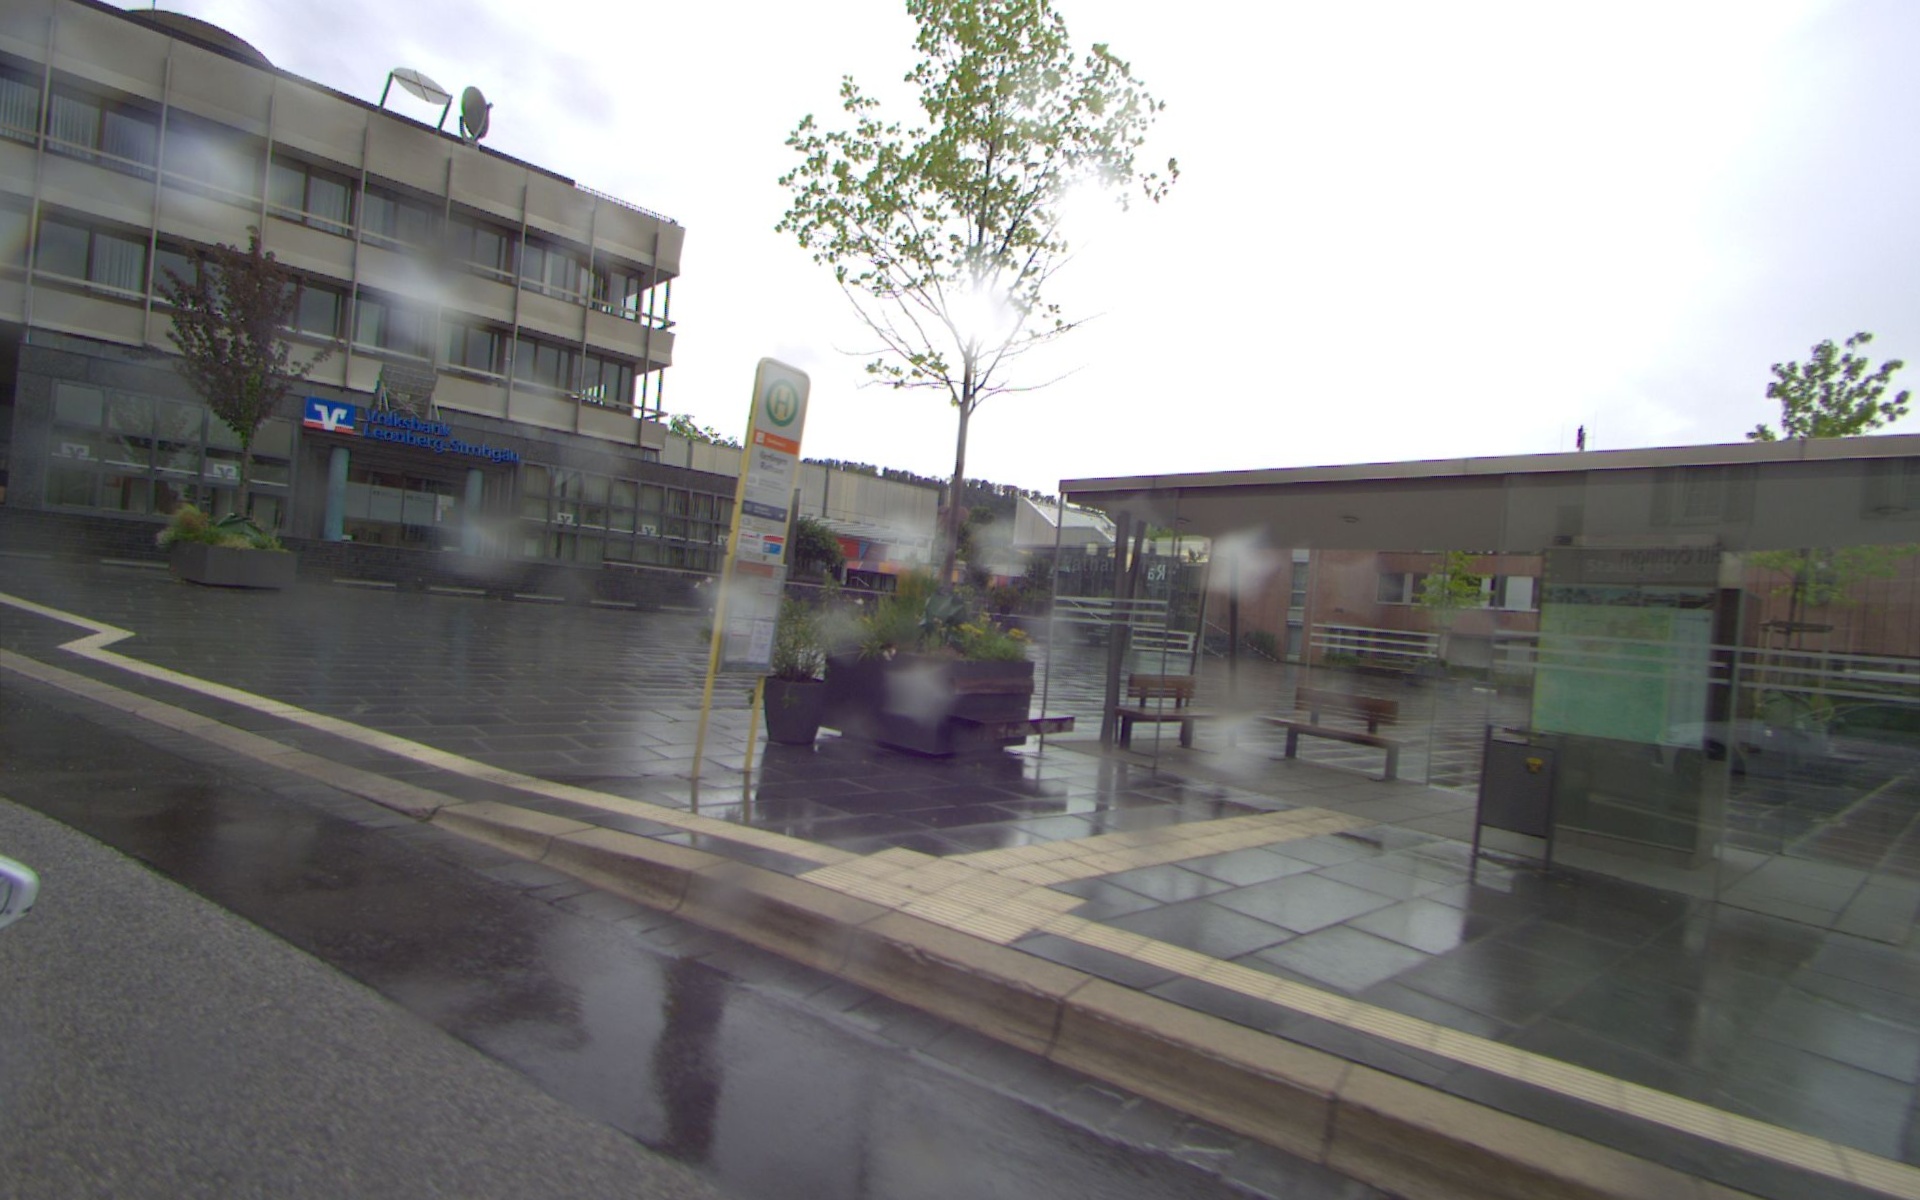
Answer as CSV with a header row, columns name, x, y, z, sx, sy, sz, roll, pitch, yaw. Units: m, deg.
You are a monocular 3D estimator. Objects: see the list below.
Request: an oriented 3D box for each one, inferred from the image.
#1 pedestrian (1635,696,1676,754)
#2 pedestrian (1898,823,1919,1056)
name,x,y,z,sx,sy,sz,roll,pitch,yaw
pedestrian,26.107,4.690,37.770,0.847,2.040,0.731,5,1,-8
pedestrian,4.375,1.075,4.036,0.683,1.638,0.727,6,2,37
